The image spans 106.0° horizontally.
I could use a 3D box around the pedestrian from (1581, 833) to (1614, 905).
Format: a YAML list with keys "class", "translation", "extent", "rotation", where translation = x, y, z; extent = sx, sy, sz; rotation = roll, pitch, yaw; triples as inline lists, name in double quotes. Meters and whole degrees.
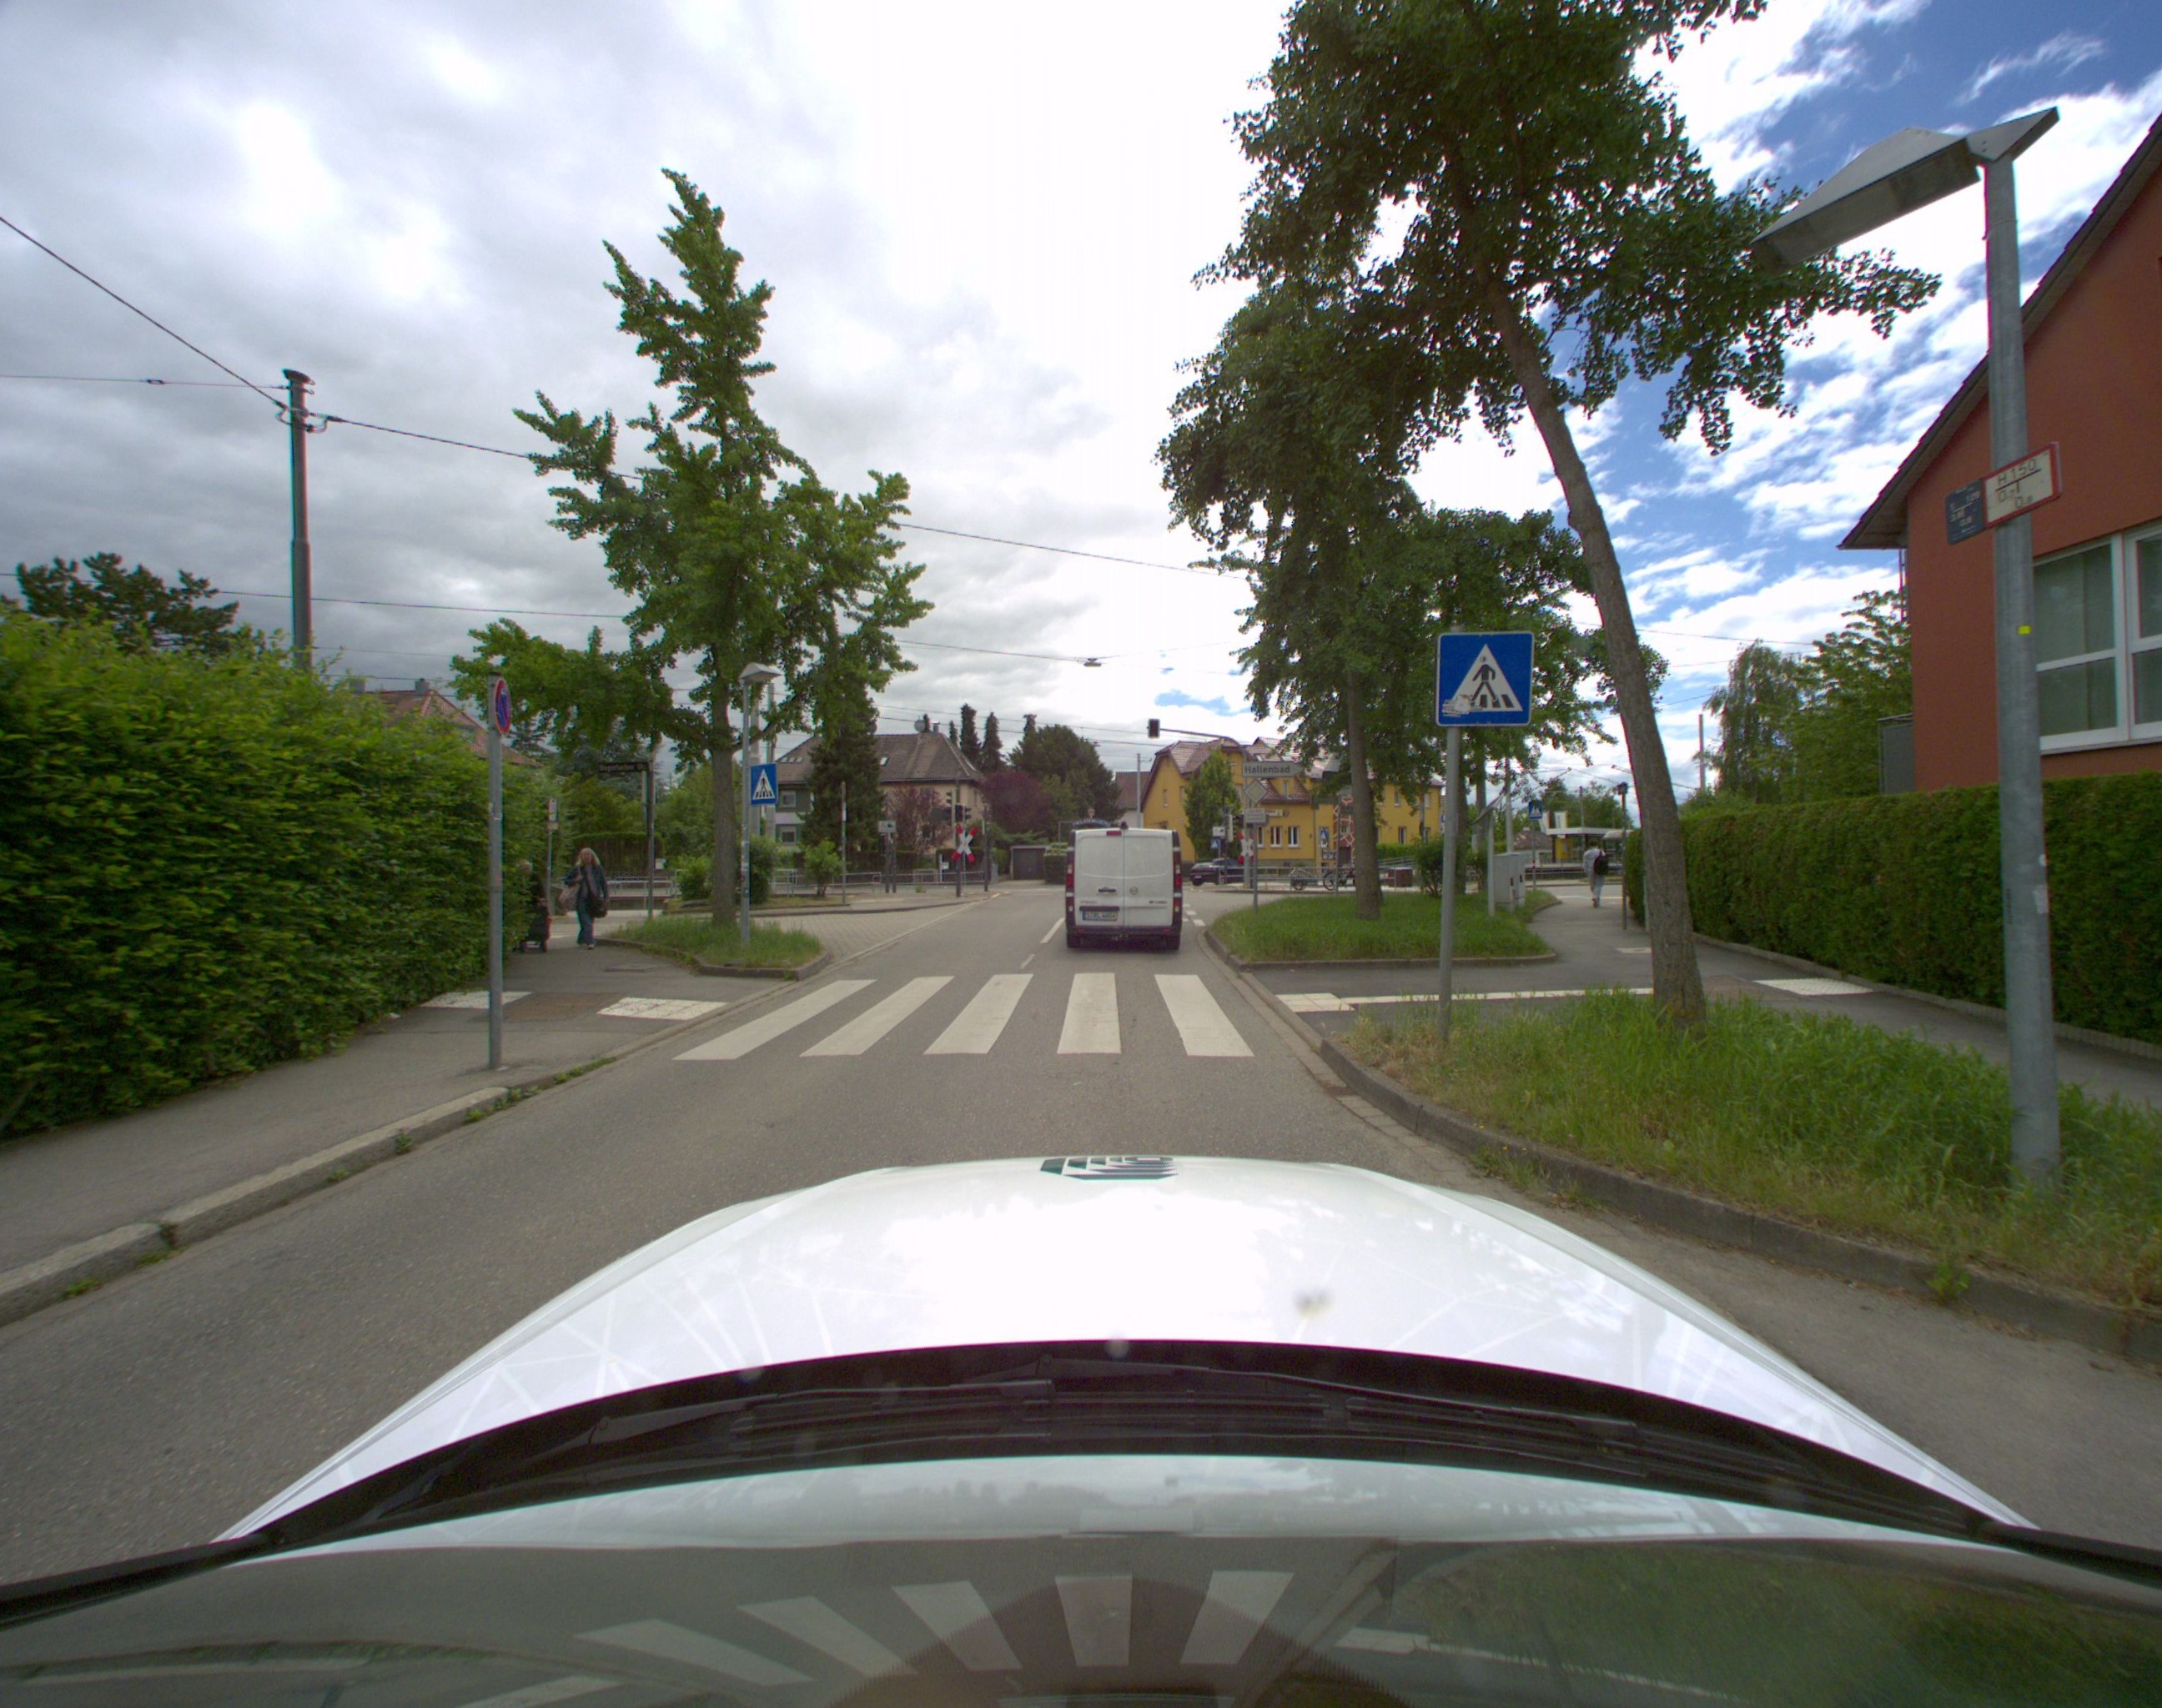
- class: "pedestrian"
  translation: [13.956, 0.399, 21.993]
  extent: [0.617, 1.915, 0.836]
  rotation: [-2, -1, 38]

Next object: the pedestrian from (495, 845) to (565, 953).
- class: "pedestrian"
  translation: [-8.656, 0.682, 12.795]
  extent: [0.591, 1.620, 0.682]
  rotation: [2, 0, 33]

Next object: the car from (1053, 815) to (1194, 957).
- class: "car"
  translation: [0.680, 0.493, 14.942]
  extent: [2.109, 2.134, 5.441]
  rotation: [0, 0, 1]

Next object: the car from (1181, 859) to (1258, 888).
- class: "car"
  translation: [8.162, 1.121, 47.716]
  extent: [2.334, 1.564, 4.397]
  rotation: [0, 0, 45]

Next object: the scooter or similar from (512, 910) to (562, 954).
- class: "scooter or similar"
  translation: [-8.305, 1.181, 12.441]
  extent: [0.395, 0.610, 0.492]
  rotation: [2, -1, 33]

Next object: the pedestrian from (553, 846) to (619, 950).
- class: "pedestrian"
  translation: [-8.065, 0.695, 13.277]
  extent: [0.591, 1.620, 0.682]
  rotation: [2, 0, 33]

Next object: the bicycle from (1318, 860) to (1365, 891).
- class: "bicycle"
  translation: [10.093, 0.838, 31.543]
  extent: [1.684, 1.156, 0.465]
  rotation: [-1, -1, -6]

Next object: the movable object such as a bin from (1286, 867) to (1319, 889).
- class: "movable object such as a bin"
  translation: [8.590, 0.924, 31.605]
  extent: [1.088, 0.824, 0.579]
  rotation: [0, -1, -3]
